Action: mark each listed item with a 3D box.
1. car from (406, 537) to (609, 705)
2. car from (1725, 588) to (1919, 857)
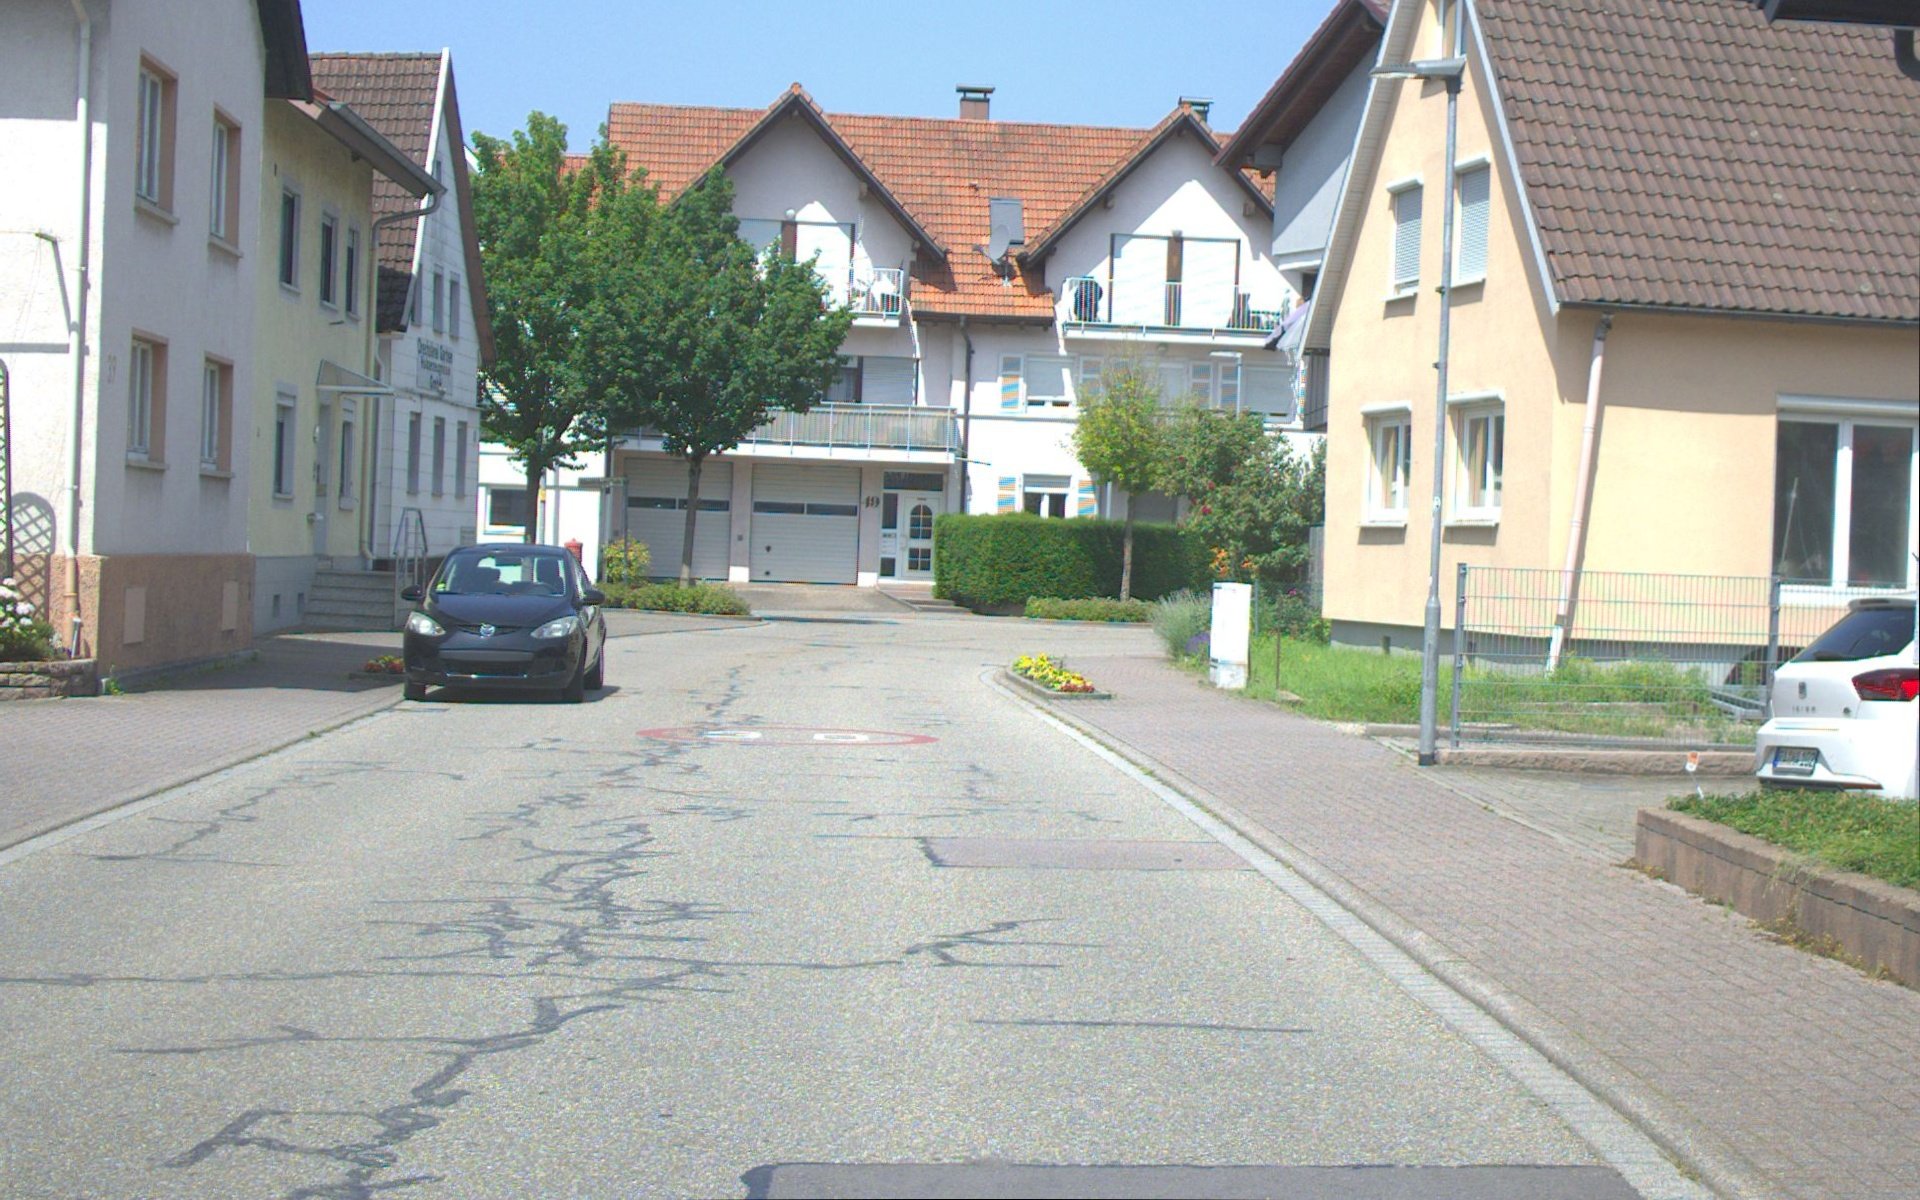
[{"bbox_3d":[-4.303,0.153,33.147,1.626,1.481,4.001,1,1,-3],"label":"car"},{"bbox_3d":[5.770,0.641,18.149,3.042,1.341,1.423,1,0,-9],"label":"car"}]
